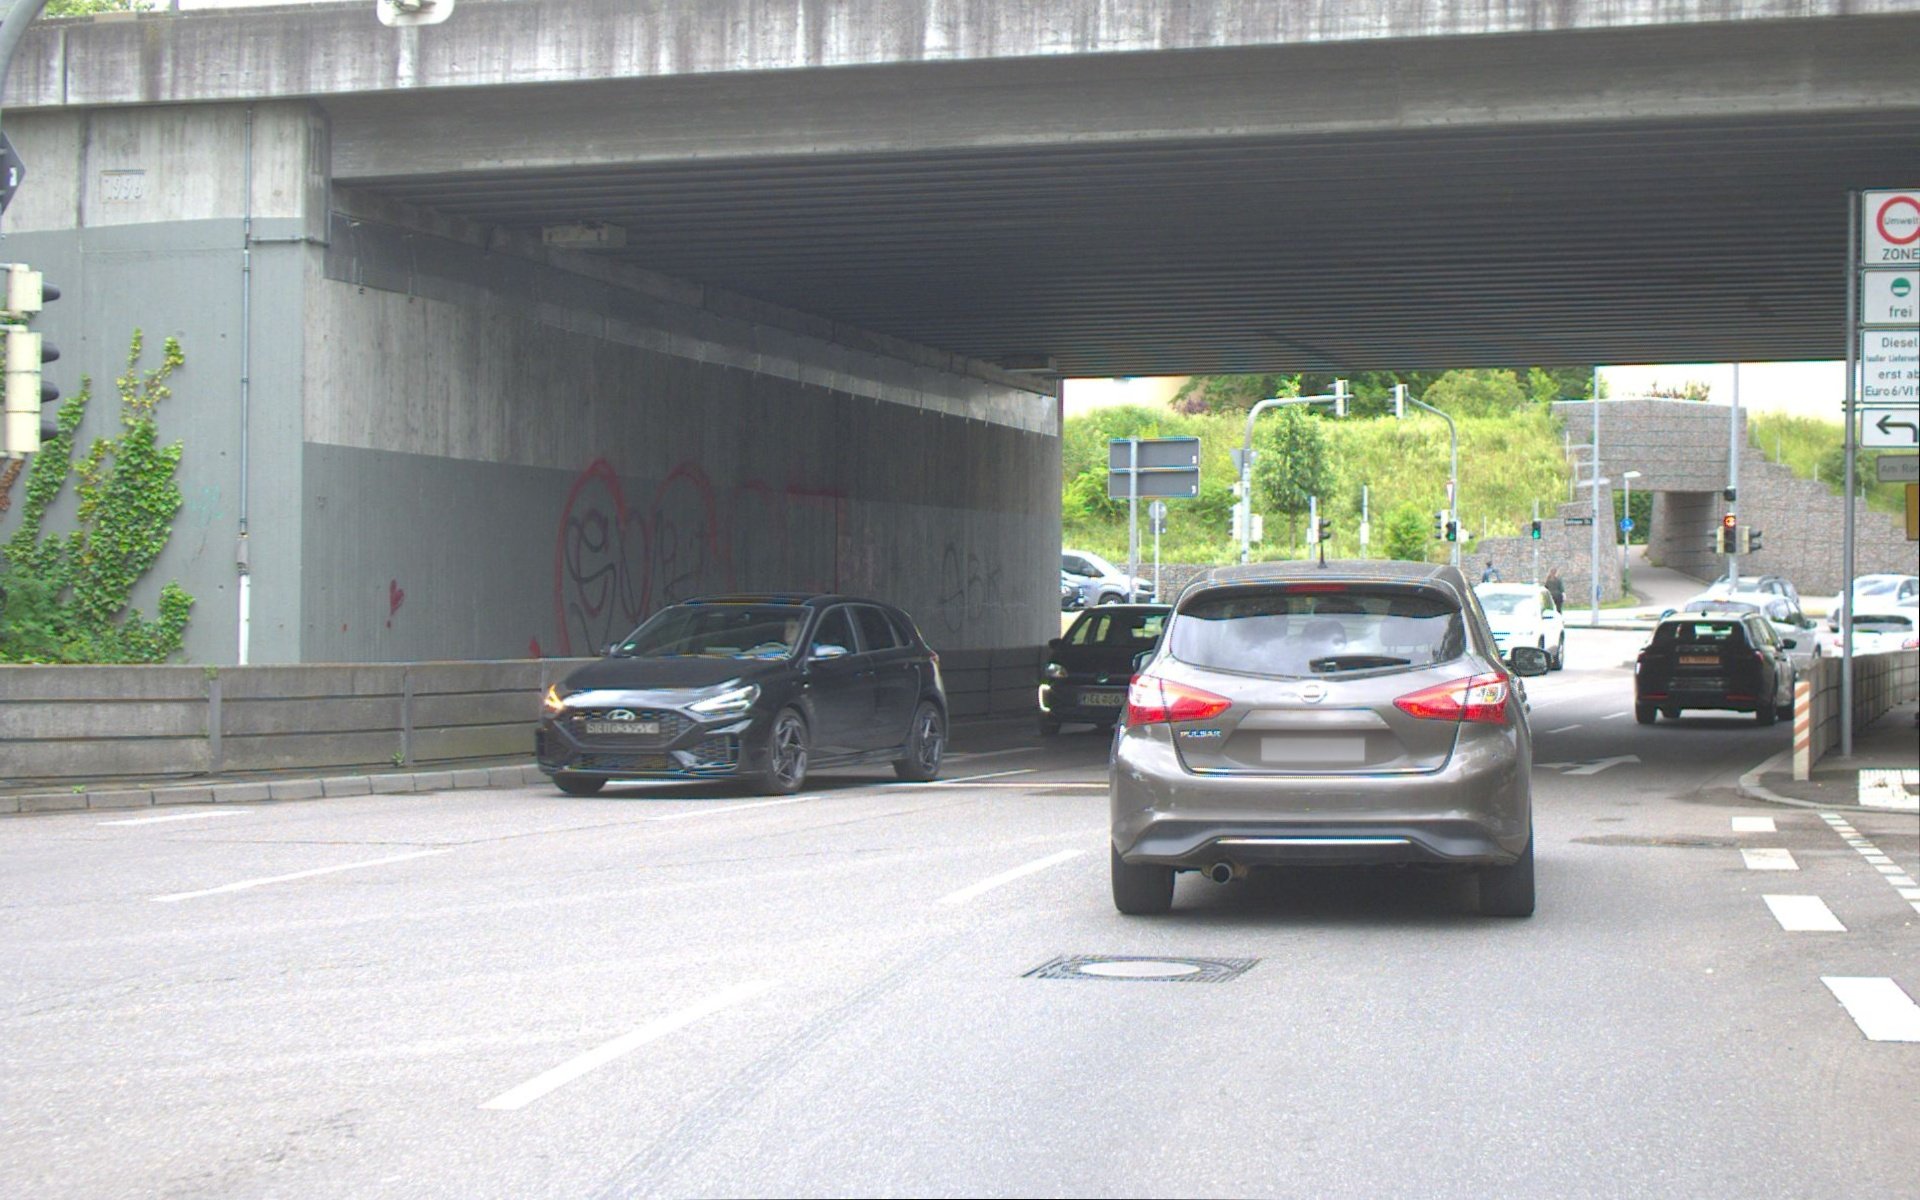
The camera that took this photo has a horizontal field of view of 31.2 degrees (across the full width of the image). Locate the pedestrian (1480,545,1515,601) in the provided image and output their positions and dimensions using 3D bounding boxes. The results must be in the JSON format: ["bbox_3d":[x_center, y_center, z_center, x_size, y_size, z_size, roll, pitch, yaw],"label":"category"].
[{"bbox_3d":[15.641,-0.782,100.097,0.953,1.607,0.699,1,1,8],"label":"pedestrian"}]

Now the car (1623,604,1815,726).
[{"bbox_3d":[9.981,0.807,45.017,1.902,1.461,3.996,1,1,20],"label":"car"}]

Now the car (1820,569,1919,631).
[{"bbox_3d":[25.052,-0.013,93.271,1.998,1.634,3.992,1,1,36],"label":"car"}]

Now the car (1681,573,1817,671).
[{"bbox_3d":[14.611,0.385,63.526,1.832,1.700,3.864,2,1,22],"label":"car"}]

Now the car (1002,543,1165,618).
[{"bbox_3d":[3.314,-0.533,92.116,3.990,1.941,1.999,1,0,15],"label":"car"}]

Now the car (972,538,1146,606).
[{"bbox_3d":[2.526,-0.720,87.674,3.991,1.590,1.870,2,1,22],"label":"car"}]

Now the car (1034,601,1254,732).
[{"bbox_3d":[2.149,0.736,39.056,1.724,1.405,3.997,0,-1,15],"label":"car"}]

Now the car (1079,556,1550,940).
[{"bbox_3d":[1.706,0.593,15.689,1.845,1.488,3.998,1,0,9],"label":"car"}]

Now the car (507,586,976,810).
[{"bbox_3d":[-1.514,0.674,25.529,1.818,1.472,4.132,1,0,22],"label":"car"}]

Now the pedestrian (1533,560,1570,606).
[{"bbox_3d":[16.330,-0.470,94.938,0.910,1.219,0.729,4,2,9],"label":"pedestrian"}]

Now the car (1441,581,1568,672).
[{"bbox_3d":[10.423,0.500,65.573,1.785,1.654,4.105,1,0,17],"label":"car"}]

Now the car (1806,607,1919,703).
[{"bbox_3d":[16.396,0.948,60.871,1.996,1.612,3.995,1,0,25],"label":"car"}]
